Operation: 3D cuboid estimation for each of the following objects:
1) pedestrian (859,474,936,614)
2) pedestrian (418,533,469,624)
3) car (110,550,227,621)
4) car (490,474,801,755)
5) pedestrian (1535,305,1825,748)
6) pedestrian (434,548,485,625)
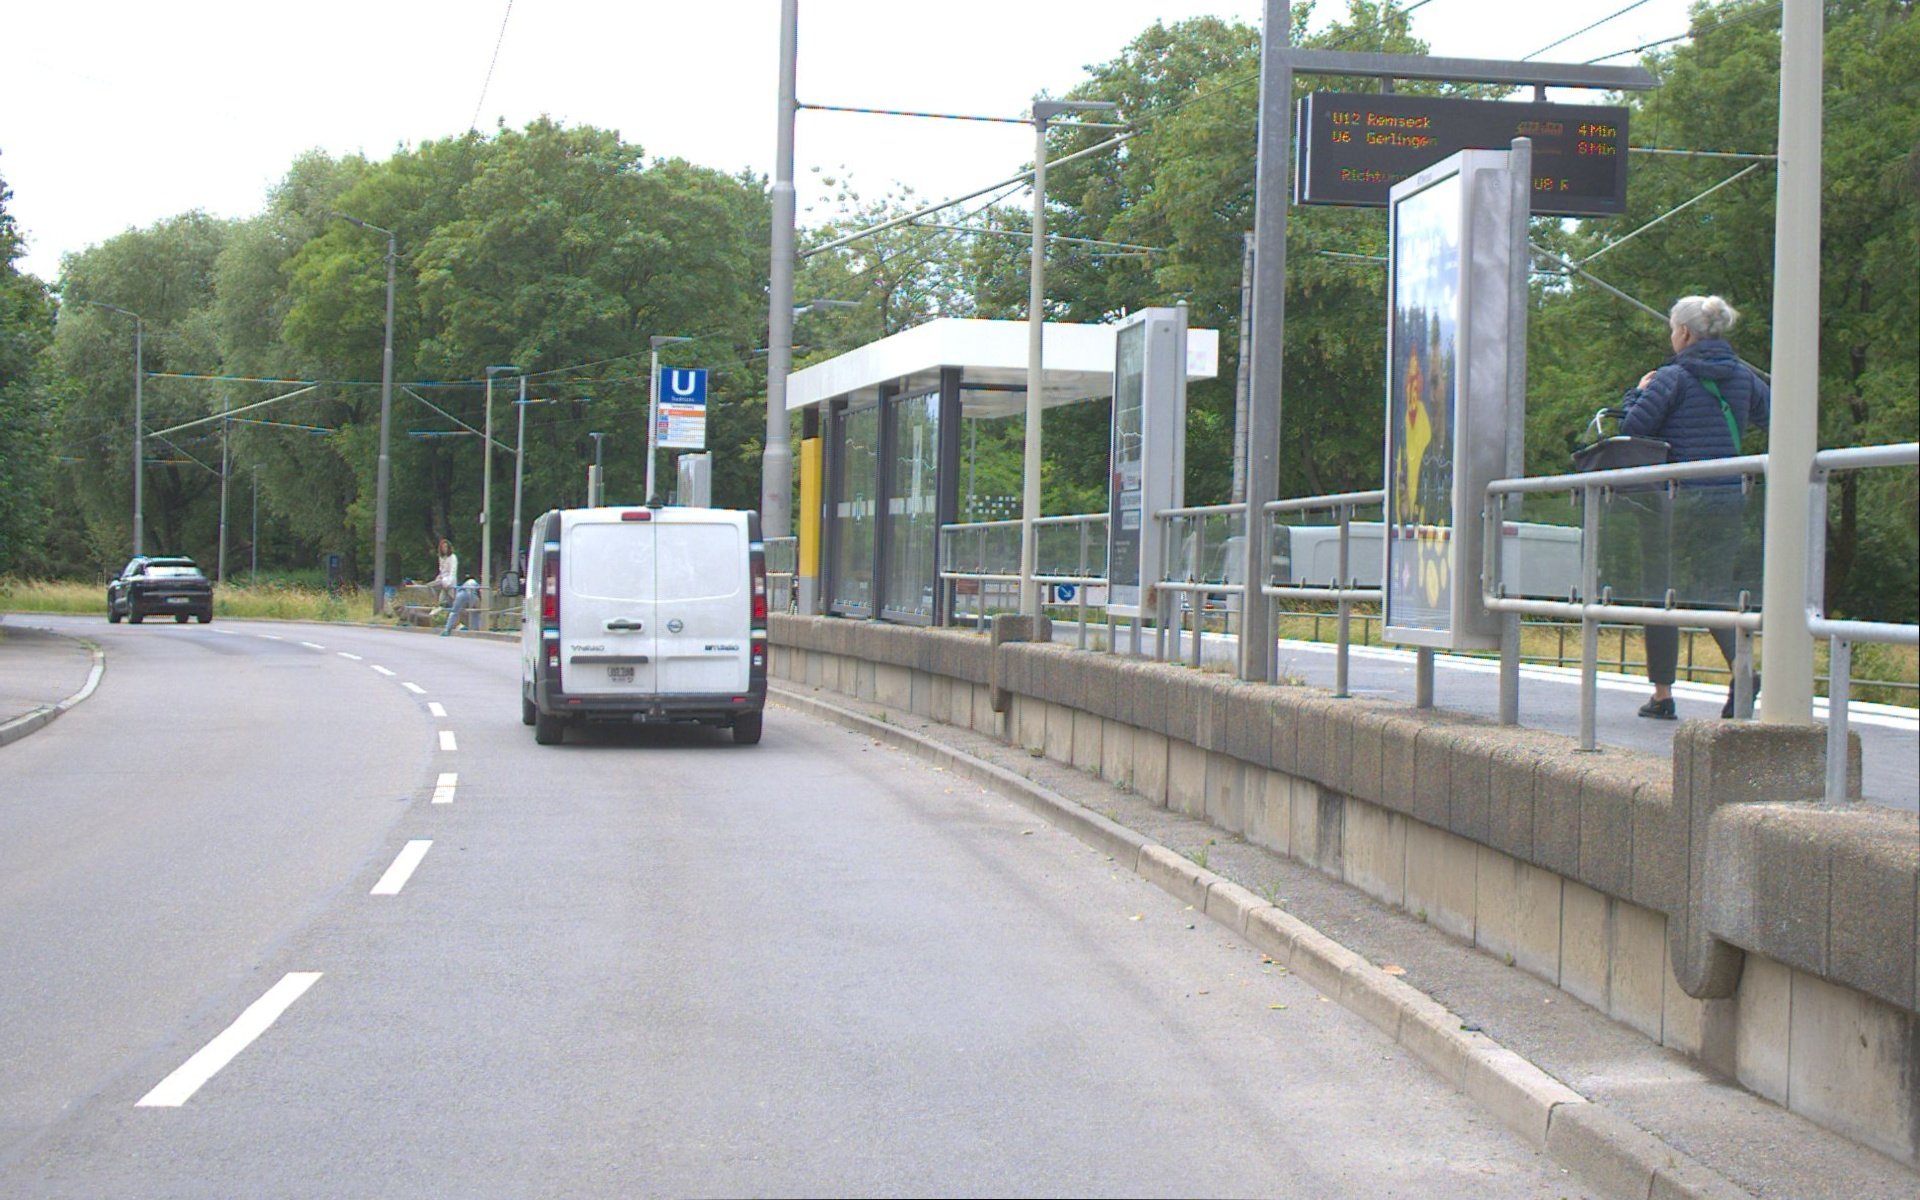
[{"bbox_3d":[-0.638,-0.575,34.924,0.638,1.399,0.765,1,2,-10],"label":"pedestrian"},{"bbox_3d":[-10.240,-0.428,68.140,0.758,1.789,0.631,1,1,-36],"label":"pedestrian"},{"bbox_3d":[-19.197,-0.373,83.251,2.354,1.559,4.374,3,0,-17],"label":"car"},{"bbox_3d":[-2.829,0.073,29.671,2.116,2.127,5.442,2,1,-10],"label":"car"},{"bbox_3d":[2.821,-0.285,13.563,0.886,1.665,0.910,2,1,-2],"label":"pedestrian"},{"bbox_3d":[-9.718,-0.260,66.739,0.758,1.487,0.631,1,1,-36],"label":"pedestrian"}]
